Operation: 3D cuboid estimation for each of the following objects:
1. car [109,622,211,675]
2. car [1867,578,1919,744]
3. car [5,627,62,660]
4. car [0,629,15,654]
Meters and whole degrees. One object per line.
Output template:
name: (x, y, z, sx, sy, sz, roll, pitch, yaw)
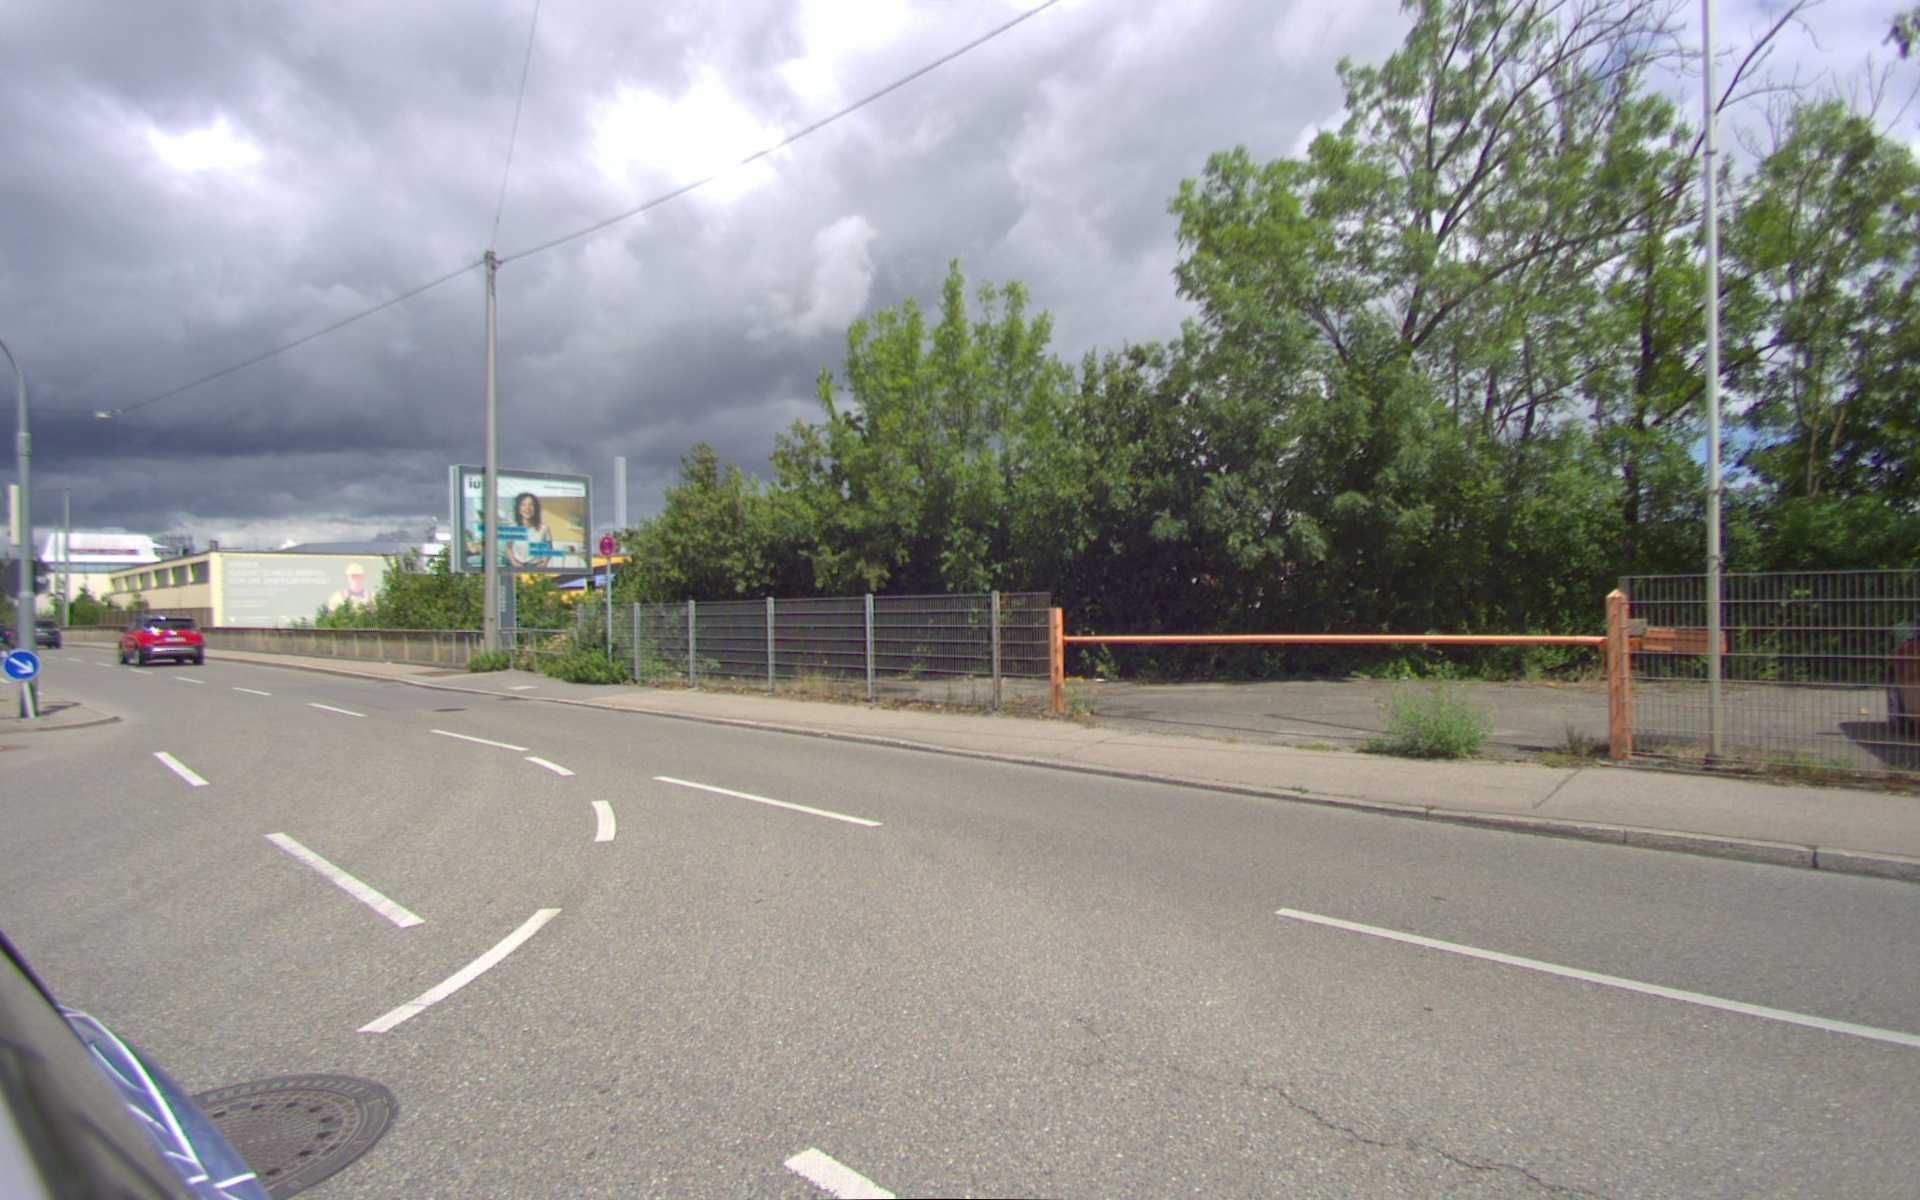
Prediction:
car: (-26.046, 1.541, 32.901, 4.151, 1.611, 1.910, -2, -3, 42)
car: (8.994, 0.501, 8.120, 1.897, 1.429, 3.822, -2, -1, 32)
car: (-49.441, 2.336, 53.989, 3.999, 1.630, 1.836, -2, -1, 42)
car: (-64.163, 2.781, 67.082, 3.999, 1.630, 1.836, -2, -1, 42)
